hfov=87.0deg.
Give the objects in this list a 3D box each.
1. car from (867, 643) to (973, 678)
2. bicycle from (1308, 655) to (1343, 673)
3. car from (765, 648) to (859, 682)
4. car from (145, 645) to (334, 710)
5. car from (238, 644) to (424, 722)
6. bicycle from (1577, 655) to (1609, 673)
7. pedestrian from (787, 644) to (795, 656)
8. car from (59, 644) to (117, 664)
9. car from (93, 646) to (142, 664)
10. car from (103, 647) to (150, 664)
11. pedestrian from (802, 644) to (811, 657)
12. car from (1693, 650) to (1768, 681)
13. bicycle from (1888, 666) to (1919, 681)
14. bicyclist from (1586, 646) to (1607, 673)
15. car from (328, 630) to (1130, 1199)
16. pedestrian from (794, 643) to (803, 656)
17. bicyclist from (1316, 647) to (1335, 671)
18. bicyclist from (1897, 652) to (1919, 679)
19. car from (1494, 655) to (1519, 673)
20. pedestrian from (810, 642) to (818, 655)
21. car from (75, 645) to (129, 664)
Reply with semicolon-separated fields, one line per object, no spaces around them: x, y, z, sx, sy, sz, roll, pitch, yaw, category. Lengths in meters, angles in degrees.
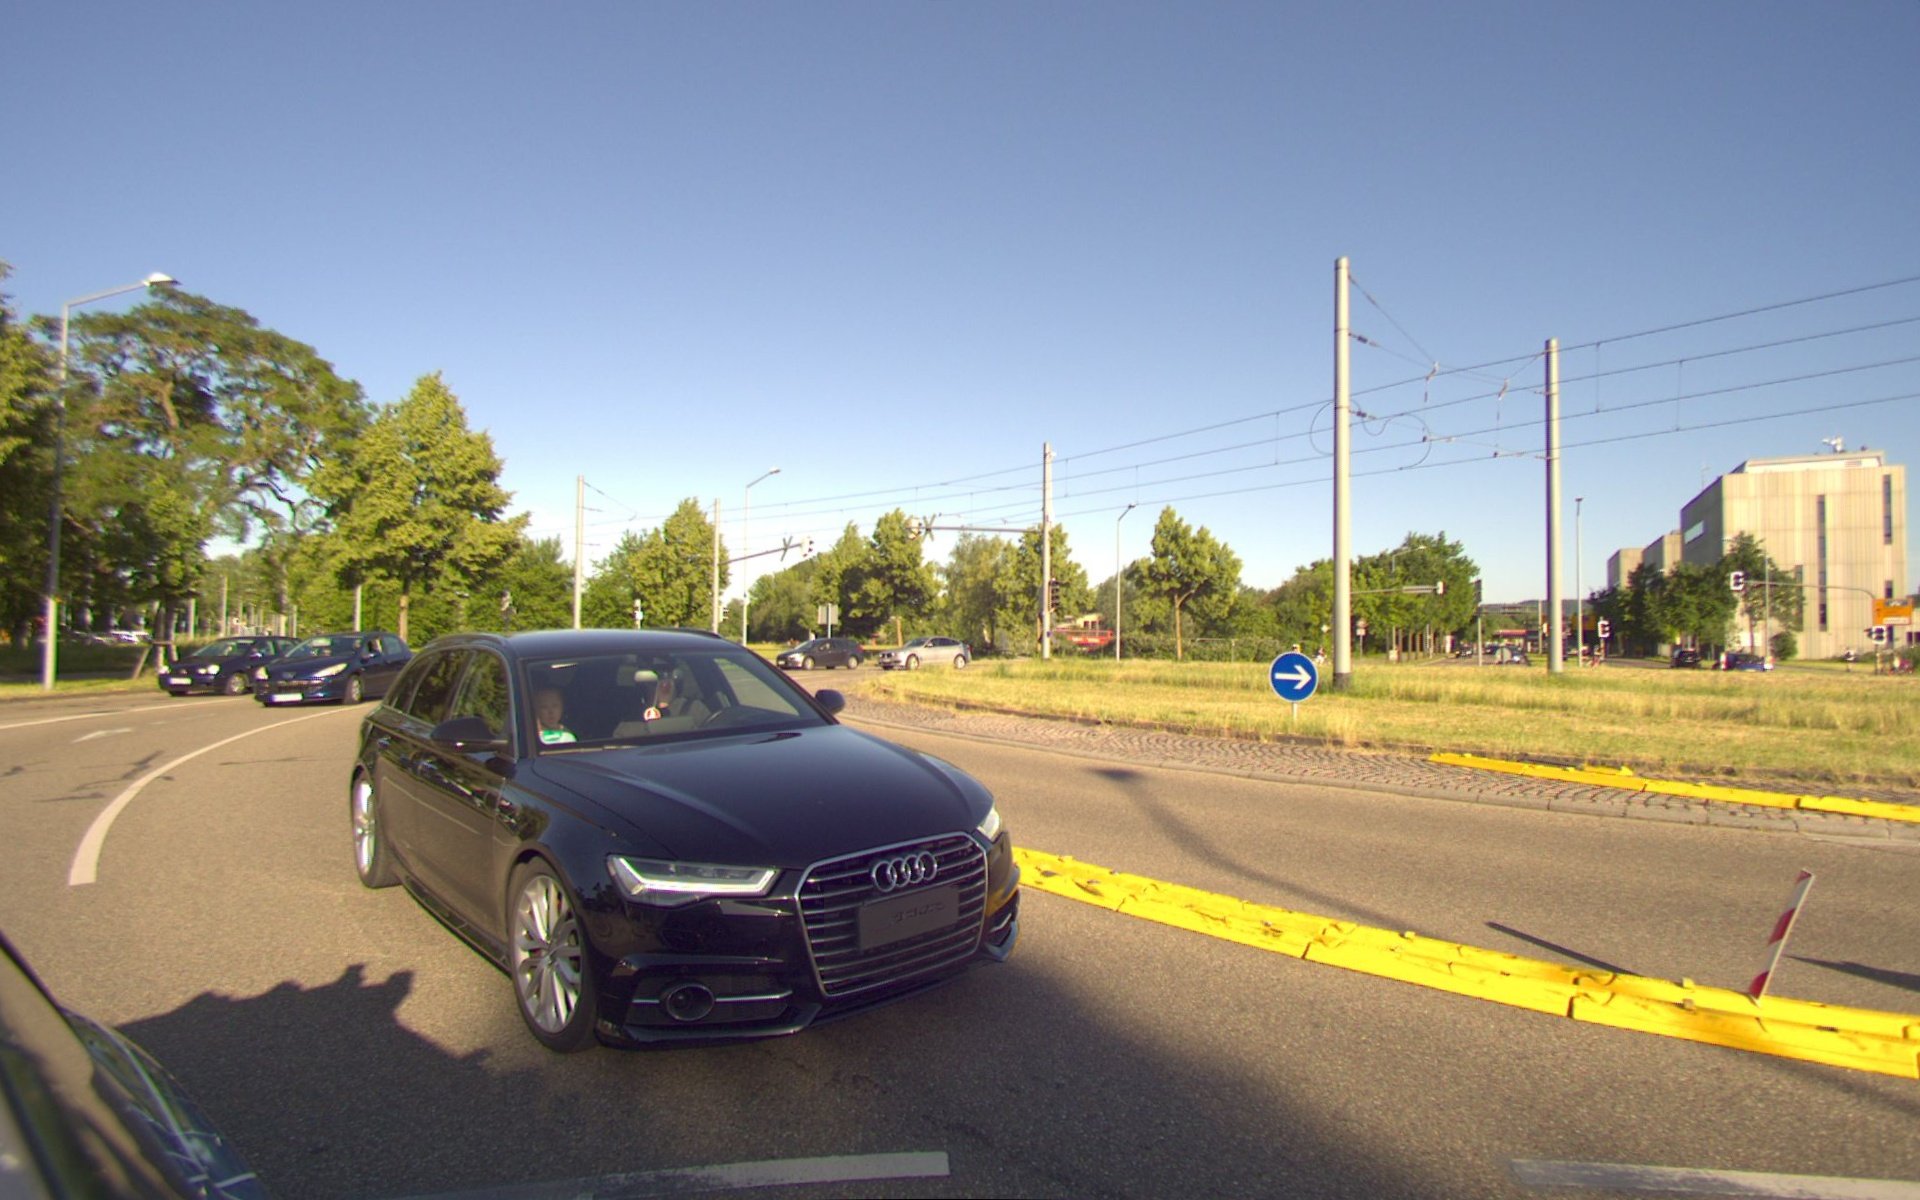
-1.751;2.668;45.183;4.466;1.390;1.940;0;-3;-41;car
25.810;4.496;71.497;2.190;1.164;0.874;1;-1;7;bicycle
-6.684;2.930;45.927;4.009;1.390;1.725;1;-4;-45;car
-18.283;1.918;25.978;1.615;1.479;4.545;0;-2;0;car
-13.118;1.670;21.425;1.731;1.465;4.004;-1;-2;-5;car
40.980;4.130;65.527;1.643;1.137;0.699;-1;-2;21;bicycle
-20.035;5.907;120.195;0.680;1.451;0.791;0;-3;13;pedestrian
-83.570;5.169;97.084;3.932;1.769;1.920;0;-3;-32;car
-92.032;6.029;110.584;3.932;1.769;1.920;0;-3;-32;car
-95.140;6.346;115.566;3.932;1.769;1.920;0;-3;-32;car
-18.212;5.988;119.915;0.766;1.451;0.791;0;-3;13;pedestrian
47.232;3.995;62.136;1.752;1.799;3.912;0;-3;4;car
54.289;4.198;57.759;1.885;0.859;0.609;-2;-4;36;bicycle
41.167;3.855;65.477;0.936;1.676;0.699;-1;-2;21;bicyclist
-1.686;0.916;5.017;1.770;1.454;5.025;1;-2;-40;car
-19.083;5.858;119.612;0.680;1.451;0.791;0;-3;13;pedestrian
25.837;4.164;71.509;1.075;1.574;0.874;1;-1;7;bicyclist
54.247;3.732;57.811;0.923;1.529;0.609;-2;-4;36;bicyclist
51.074;5.959;94.551;1.950;1.627;3.878;-2;-3;30;car
-17.366;5.777;120.248;0.655;1.451;0.791;0;-3;13;pedestrian
-87.213;5.539;102.891;3.932;1.769;1.920;0;-3;-32;car
